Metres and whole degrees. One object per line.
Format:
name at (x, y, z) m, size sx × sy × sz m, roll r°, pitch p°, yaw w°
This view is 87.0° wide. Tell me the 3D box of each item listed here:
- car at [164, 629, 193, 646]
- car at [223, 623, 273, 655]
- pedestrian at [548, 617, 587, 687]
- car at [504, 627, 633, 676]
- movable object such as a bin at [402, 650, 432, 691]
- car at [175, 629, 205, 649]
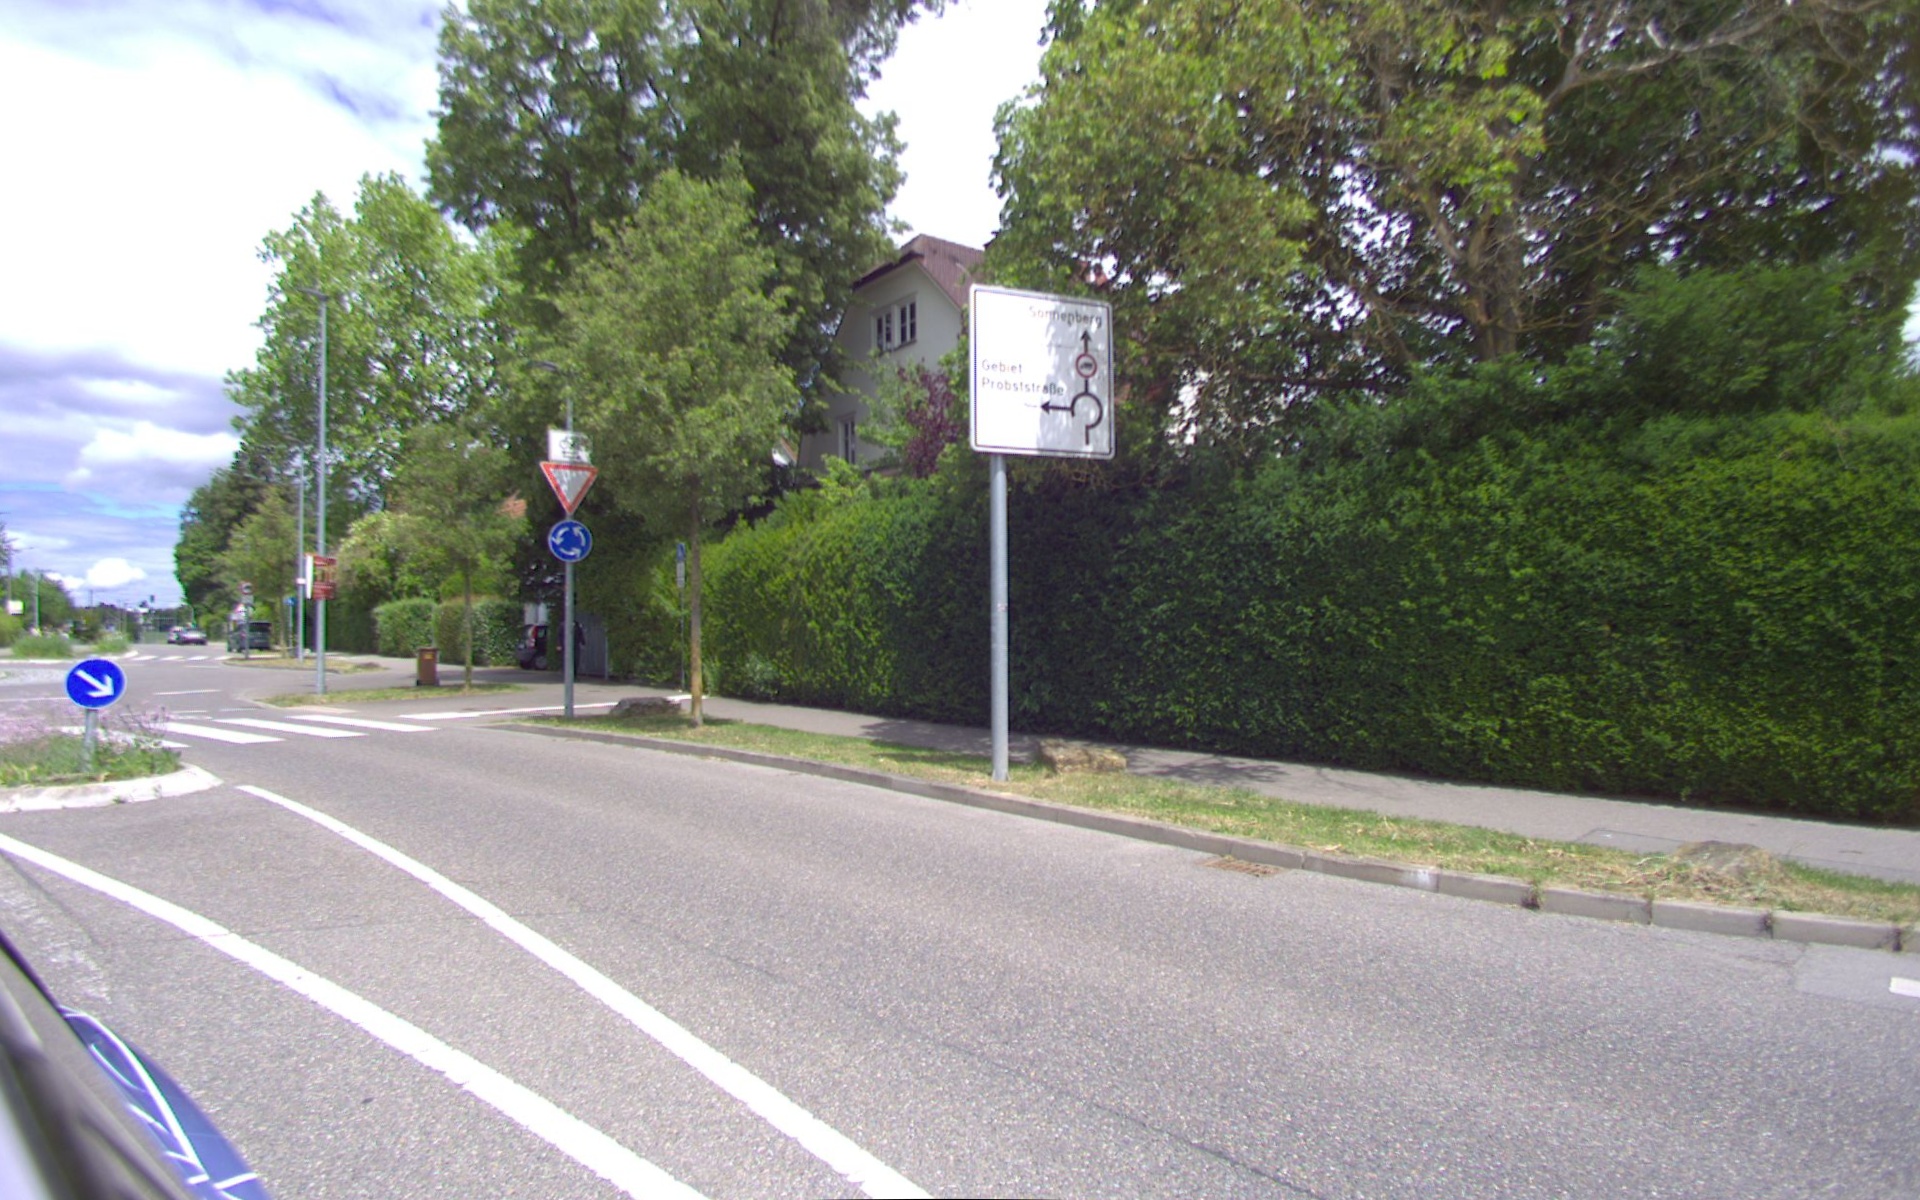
car at (-84.470, 4.065, 109.349) m, size 1.970 × 1.719 × 4.003 m, roll 3°, pitch -3°, yaw -44°
car at (-39.139, 2.131, 55.620) m, size 1.656 × 1.674 × 4.003 m, roll 2°, pitch -2°, yaw -44°
pedestrian at (-9.756, 1.279, 25.128) m, size 0.734 × 1.704 × 0.696 m, roll 0°, pitch -1°, yaw -38°
car at (-12.792, 1.686, 33.149) m, size 3.522 × 1.408 × 1.668 m, roll 5°, pitch -3°, yaw -39°
movable object such as a bin at (-12.572, 1.629, 23.426) m, size 0.409 × 0.942 × 0.438 m, roll 0°, pitch -2°, yaw 22°
car at (-64.745, 3.265, 85.076) m, size 1.834 × 1.589 × 4.007 m, roll 0°, pitch -1°, yaw -39°
